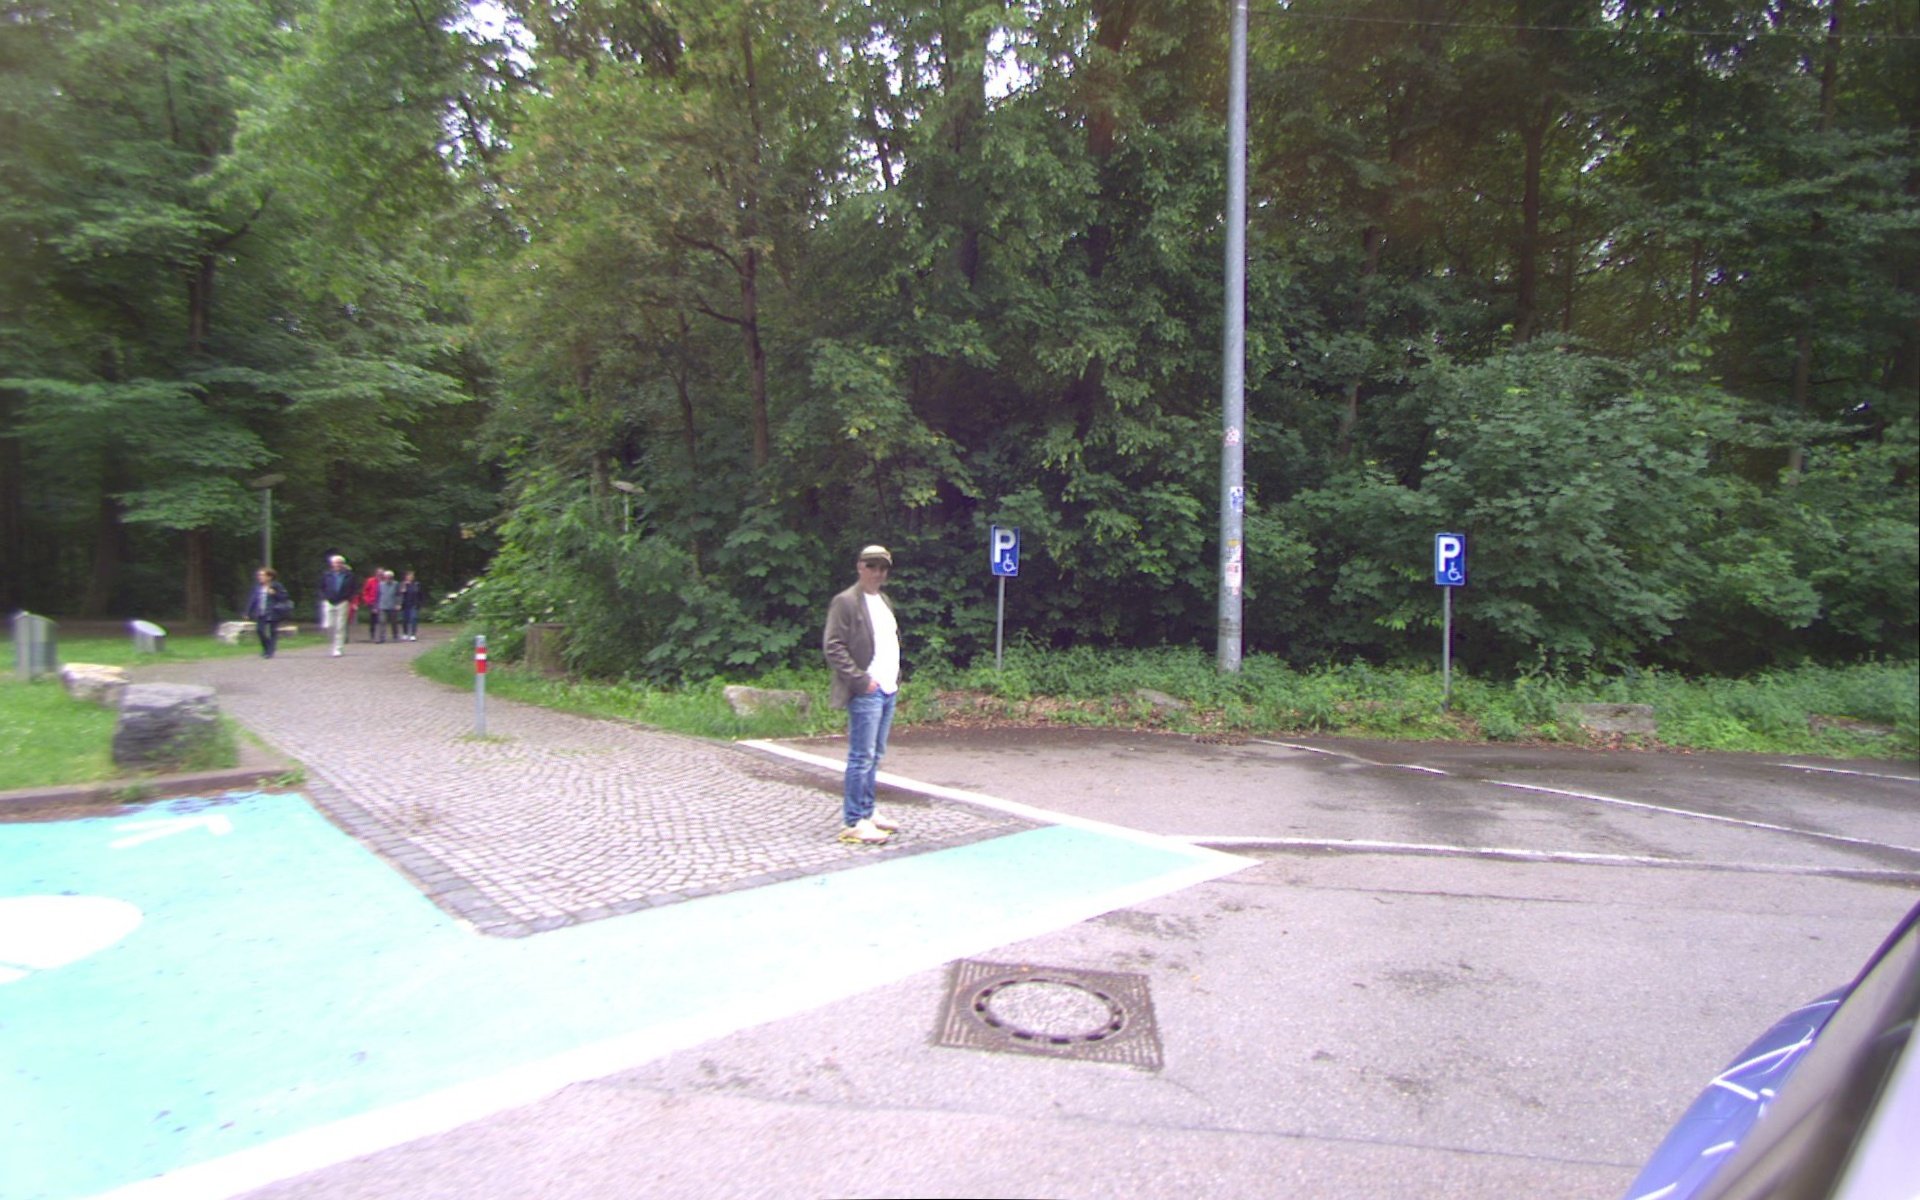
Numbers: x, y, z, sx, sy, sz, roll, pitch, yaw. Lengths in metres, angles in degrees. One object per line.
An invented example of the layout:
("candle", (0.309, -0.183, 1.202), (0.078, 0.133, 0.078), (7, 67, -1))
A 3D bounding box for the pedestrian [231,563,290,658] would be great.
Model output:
("pedestrian", (-12.556, 0.181, 18.185), (0.763, 1.654, 0.638), (1, 0, -27))

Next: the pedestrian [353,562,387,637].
("pedestrian", (-14.404, -0.012, 24.697), (0.668, 1.790, 0.714), (1, 0, -32))

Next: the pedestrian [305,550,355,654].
("pedestrian", (-11.959, 0.030, 19.226), (0.719, 1.940, 0.669), (1, 0, -27))

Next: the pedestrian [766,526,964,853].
("pedestrian", (-0.544, 0.472, 5.955), (0.888, 1.746, 0.757), (1, 0, 26))

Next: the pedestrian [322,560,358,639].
("pedestrian", (-14.155, -0.012, 23.100), (0.670, 1.784, 0.606), (1, 0, -32))

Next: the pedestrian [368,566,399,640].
("pedestrian", (-13.503, 0.060, 23.713), (0.597, 1.694, 0.606), (1, 0, -32))

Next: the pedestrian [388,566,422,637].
("pedestrian", (-13.616, 0.031, 24.830), (0.668, 1.694, 0.663), (1, 0, -32))
